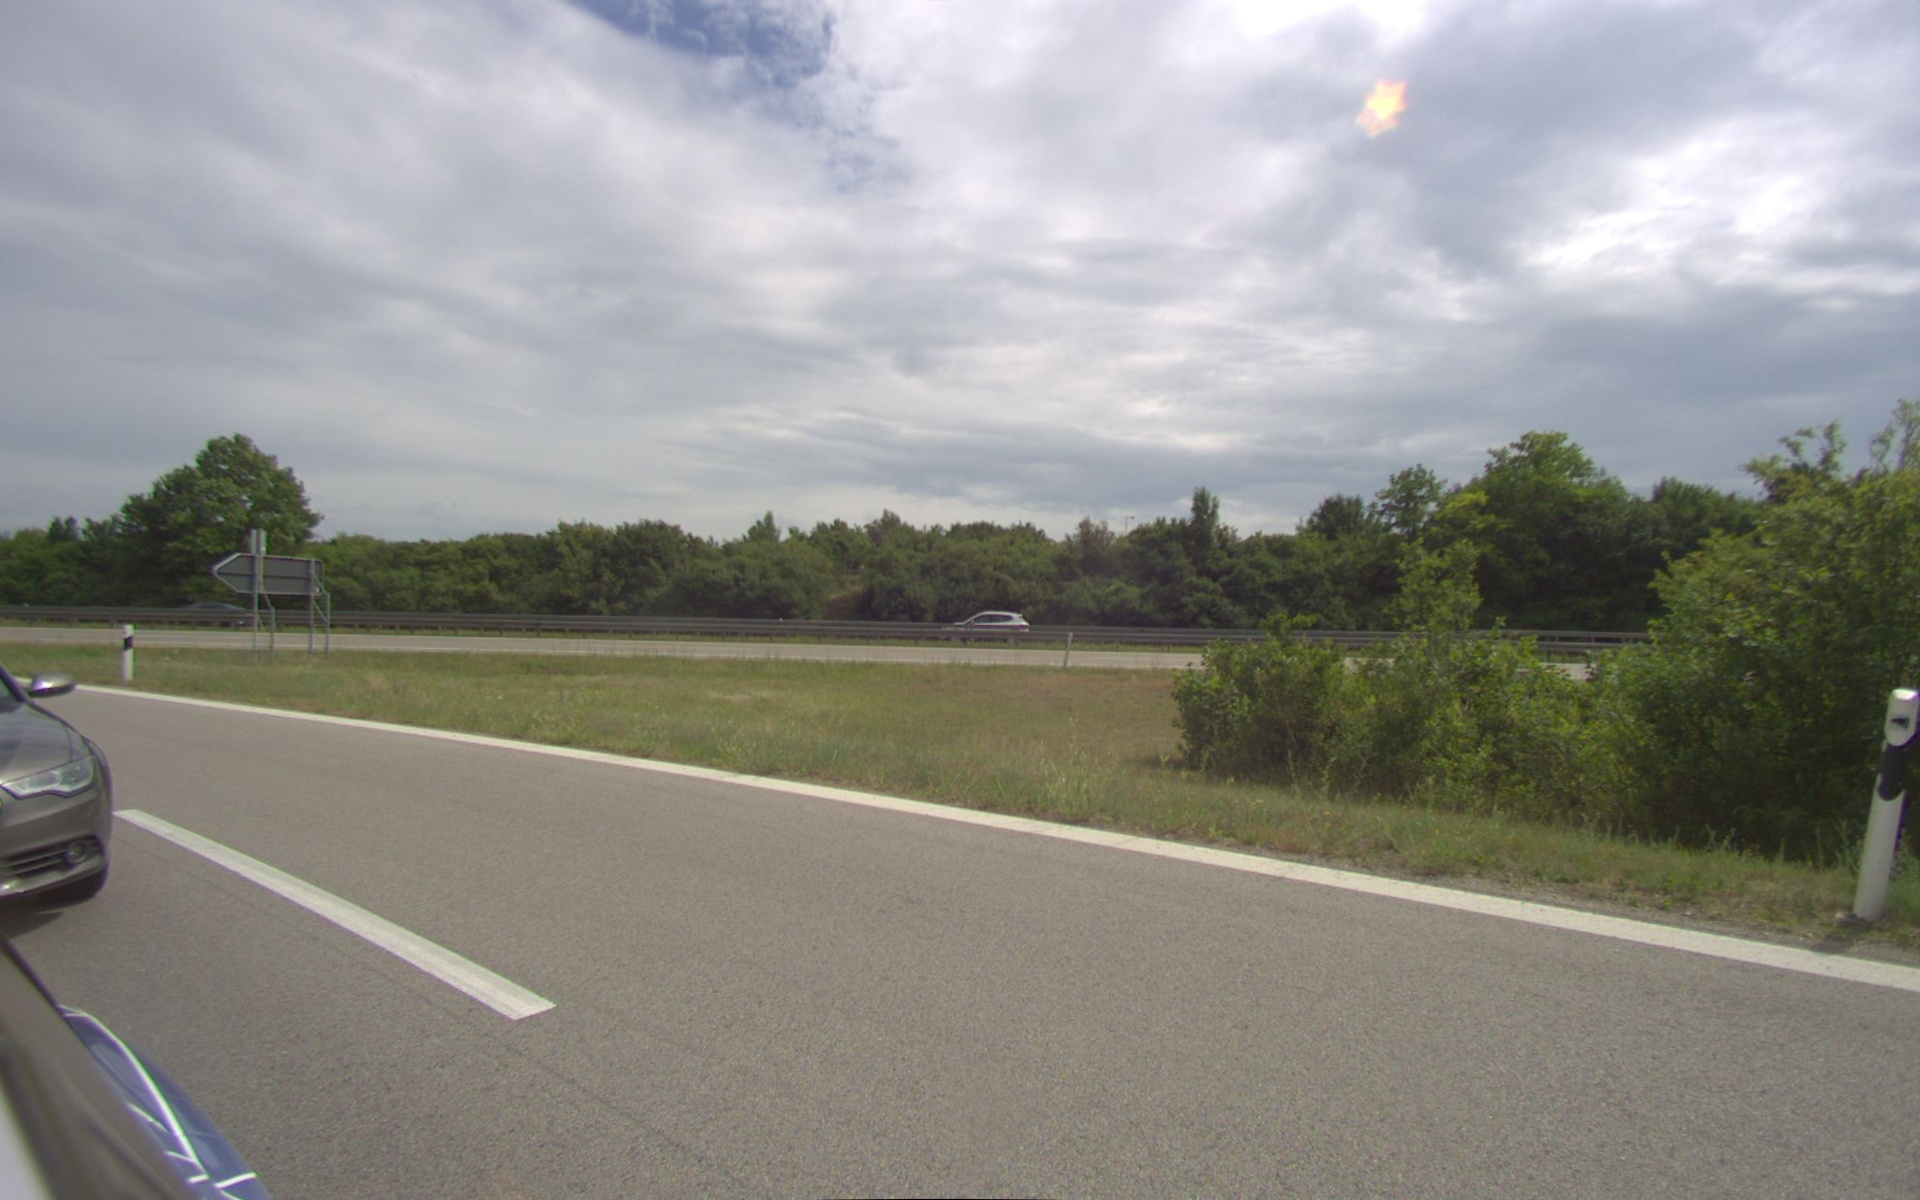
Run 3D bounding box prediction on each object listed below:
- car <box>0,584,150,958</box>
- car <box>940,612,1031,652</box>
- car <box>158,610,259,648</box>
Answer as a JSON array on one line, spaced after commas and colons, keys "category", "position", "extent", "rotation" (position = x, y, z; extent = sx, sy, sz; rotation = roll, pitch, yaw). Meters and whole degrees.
[{"category": "car", "position": [-5.974, 0.719, 5.198], "extent": [4.534, 1.526, 1.974], "rotation": [-1, 0, 40]}, {"category": "car", "position": [1.168, 1.416, 45.158], "extent": [3.948, 1.697, 1.997], "rotation": [1, -1, 4]}, {"category": "car", "position": [-39.497, 1.501, 53.229], "extent": [4.155, 1.887, 1.841], "rotation": [-1, 0, 7]}]
